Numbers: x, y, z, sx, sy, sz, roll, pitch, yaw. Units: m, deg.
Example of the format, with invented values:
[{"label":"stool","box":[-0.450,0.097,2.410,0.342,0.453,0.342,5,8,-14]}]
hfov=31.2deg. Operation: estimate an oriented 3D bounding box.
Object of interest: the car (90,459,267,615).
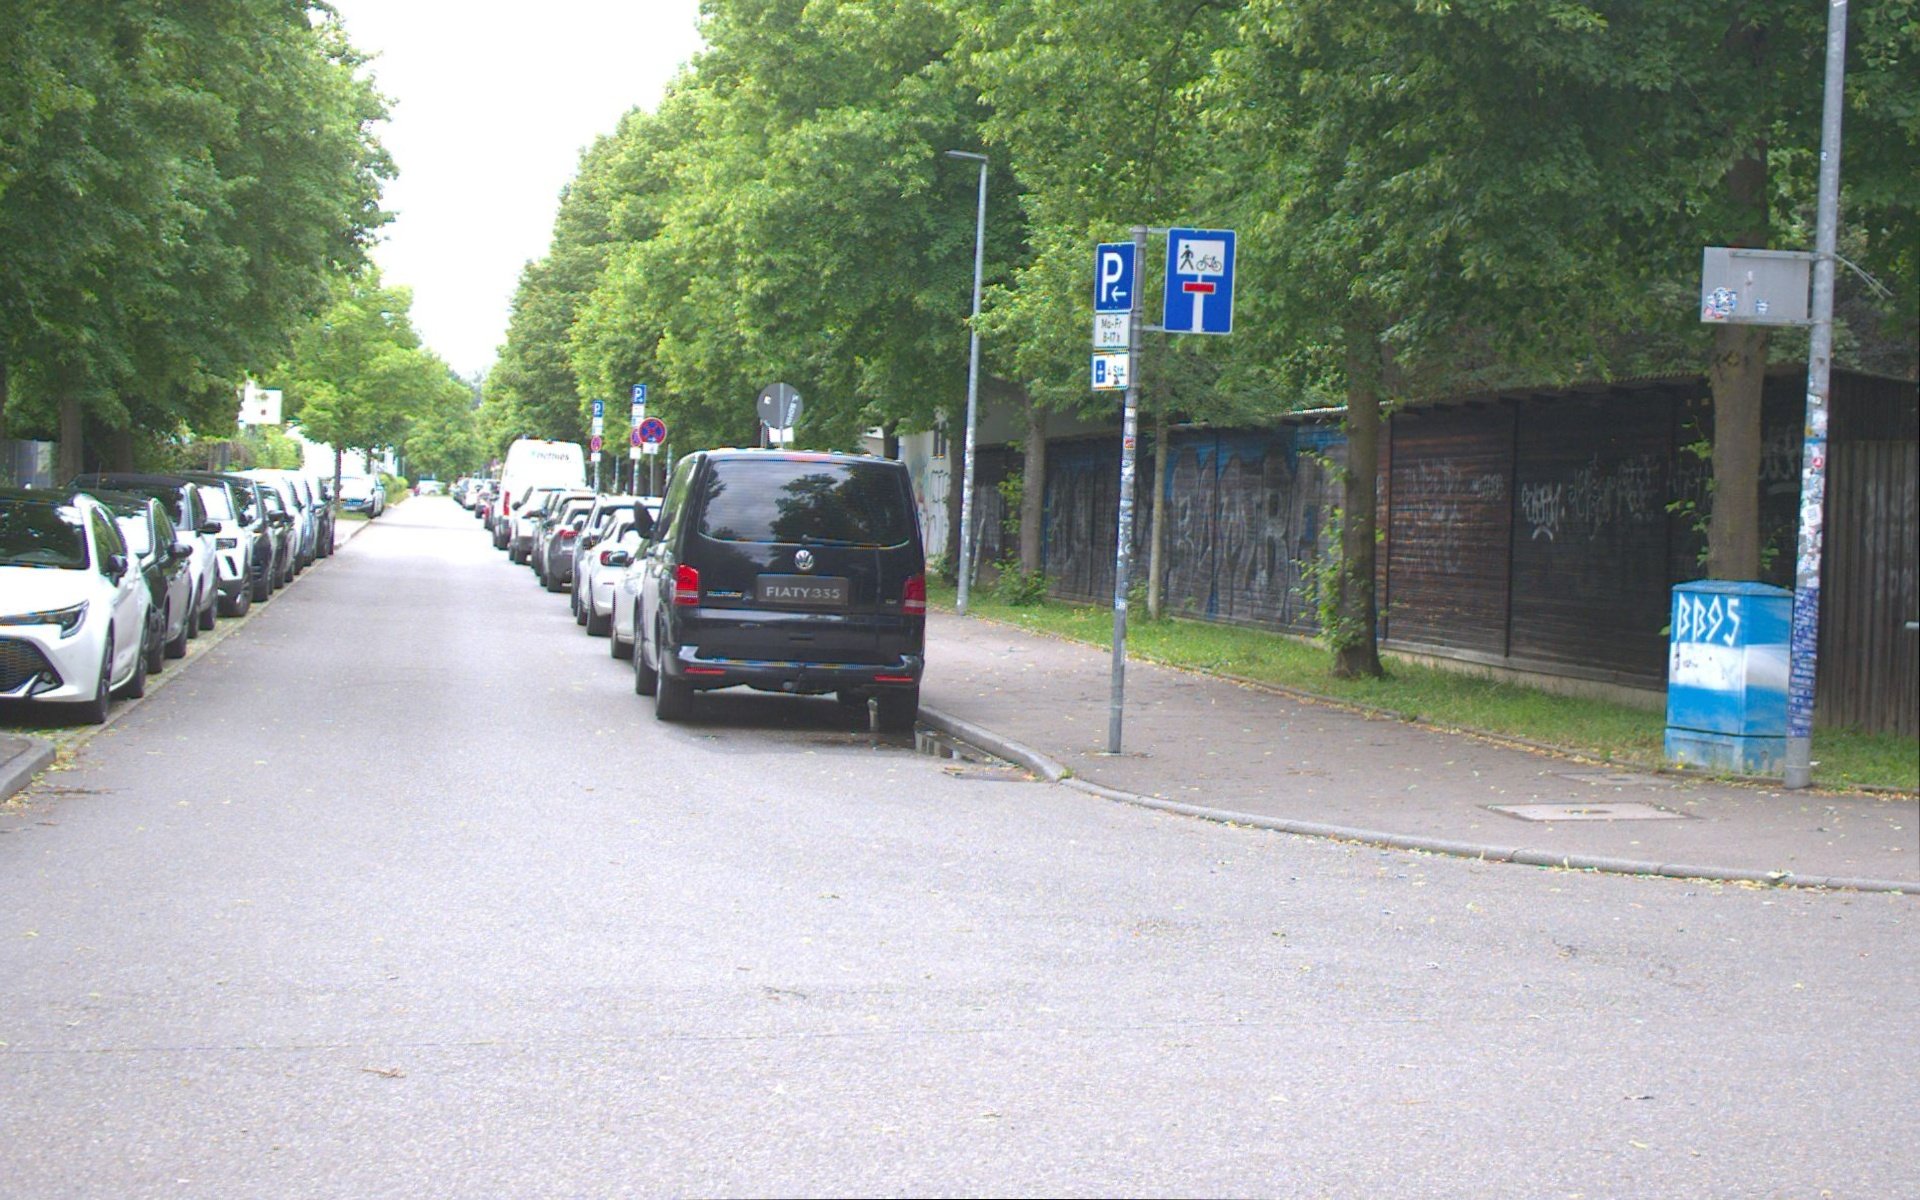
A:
[{"label":"car","box":[-8.920,-0.744,39.467,1.691,1.590,4.001,4,1,-10]}]

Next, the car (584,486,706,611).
[{"label":"car","box":[-4.119,-0.687,44.639,1.469,1.526,3.190,1,1,-7]}]

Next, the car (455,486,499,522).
[{"label":"car","box":[-24.570,-4.874,174.999,1.898,1.700,4.064,1,0,-4]}]

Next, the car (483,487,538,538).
[{"label":"car","box":[-18.554,-3.609,141.998,1.993,2.007,4.001,1,0,-4]}]

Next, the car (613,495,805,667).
[{"label":"car","box":[-2.379,-0.212,31.936,1.597,1.476,3.522,1,1,-7]}]

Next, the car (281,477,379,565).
[{"label":"car","box":[-11.041,-1.398,60.420,1.469,1.476,3.190,1,1,-7]}]

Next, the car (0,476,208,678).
[{"label":"car","box":[-7.038,-0.232,28.061,1.545,1.450,3.667,4,1,-11]}]

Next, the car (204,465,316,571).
[{"label":"car","box":[-11.236,-1.320,55.305,1.593,1.554,3.195,4,1,-10]}]

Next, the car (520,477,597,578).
[{"label":"car","box":[-8.105,-1.468,69.434,1.469,1.961,3.190,1,1,-7]}]

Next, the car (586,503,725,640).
[{"label":"car","box":[-3.535,-0.358,39.521,1.469,1.476,3.190,1,1,-7]}]

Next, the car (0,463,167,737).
[{"label":"car","box":[-6.228,-0.091,22.475,1.764,1.590,4.218,4,1,-11]}]

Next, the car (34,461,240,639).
[{"label":"car","box":[-8.265,-0.533,34.772,1.691,1.590,4.001,4,1,-10]}]

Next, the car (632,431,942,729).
[{"label":"car","box":[-1.375,-0.190,25.587,1.987,2.007,4.109,1,1,-7]}]

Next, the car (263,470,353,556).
[{"label":"car","box":[-12.129,-1.633,64.057,1.593,1.554,3.195,0,2,-10]}]

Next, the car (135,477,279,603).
[{"label":"car","box":[-9.624,-0.784,44.089,1.593,1.452,3.195,4,1,-10]}]

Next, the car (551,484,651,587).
[{"label":"car","box":[-5.594,-1.021,53.406,1.469,1.526,3.190,1,1,-7]}]

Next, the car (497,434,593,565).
[{"label":"car","box":[-9.964,-2.418,82.600,2.184,3.005,4.898,1,1,-7]}]
